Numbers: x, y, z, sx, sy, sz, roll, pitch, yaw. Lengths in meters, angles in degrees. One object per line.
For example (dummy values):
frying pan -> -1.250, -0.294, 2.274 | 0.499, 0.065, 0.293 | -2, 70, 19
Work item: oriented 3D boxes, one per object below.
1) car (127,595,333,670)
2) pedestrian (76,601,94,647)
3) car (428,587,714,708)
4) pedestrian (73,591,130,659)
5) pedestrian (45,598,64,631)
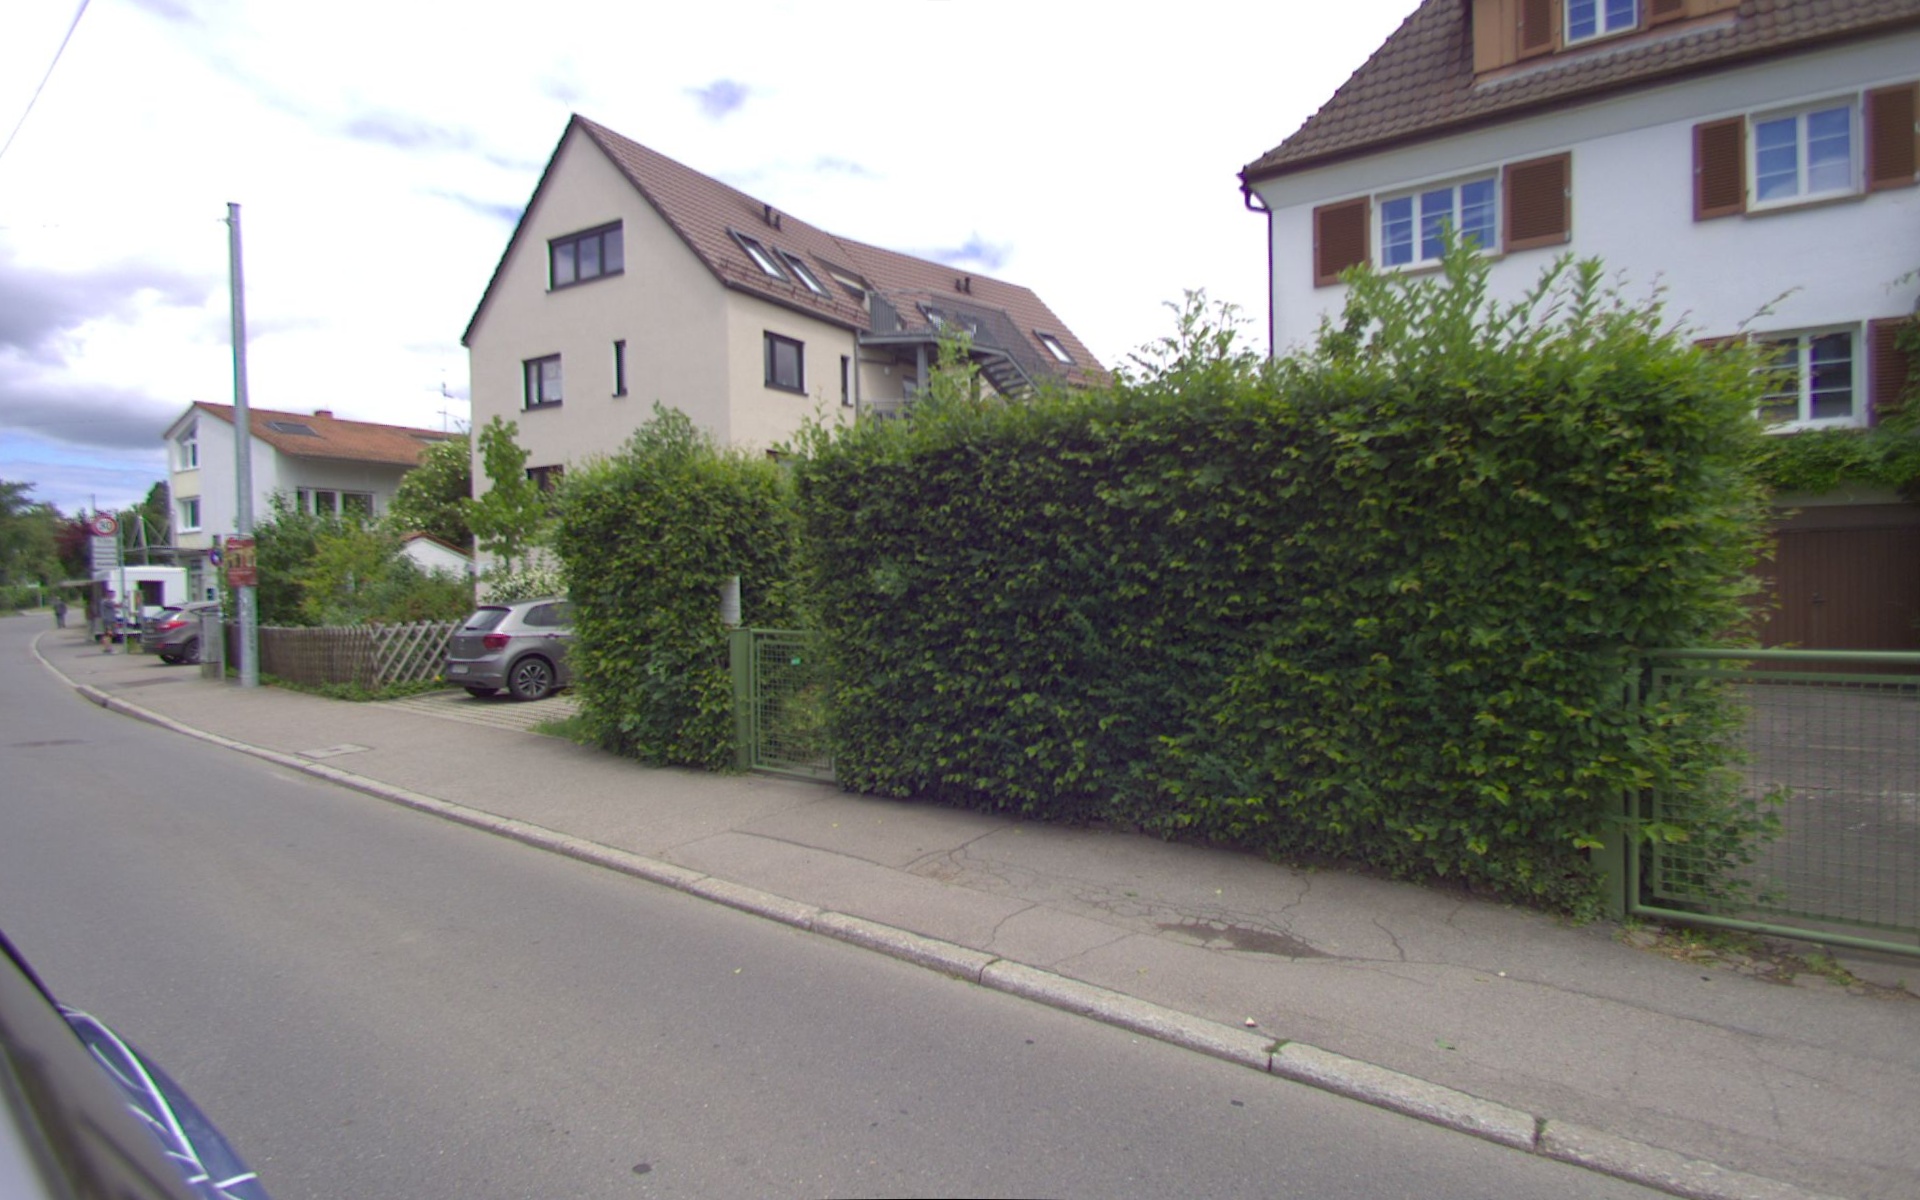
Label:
car -> -20.379, 0.850, 28.442 | 1.793, 1.708, 4.278 | -1, 3, 33
pedestrian -> -33.336, 0.909, 38.555 | 0.597, 1.707, 0.396 | 0, 3, 43
car -> -5.878, 0.620, 15.572 | 1.817, 1.444, 3.633 | 0, 3, 42
pedestrian -> -26.170, 0.748, 30.855 | 1.199, 1.960, 0.736 | -4, 3, -42
pedestrian -> -50.776, 0.807, 56.754 | 0.714, 1.698, 1.111 | -4, 9, -41
